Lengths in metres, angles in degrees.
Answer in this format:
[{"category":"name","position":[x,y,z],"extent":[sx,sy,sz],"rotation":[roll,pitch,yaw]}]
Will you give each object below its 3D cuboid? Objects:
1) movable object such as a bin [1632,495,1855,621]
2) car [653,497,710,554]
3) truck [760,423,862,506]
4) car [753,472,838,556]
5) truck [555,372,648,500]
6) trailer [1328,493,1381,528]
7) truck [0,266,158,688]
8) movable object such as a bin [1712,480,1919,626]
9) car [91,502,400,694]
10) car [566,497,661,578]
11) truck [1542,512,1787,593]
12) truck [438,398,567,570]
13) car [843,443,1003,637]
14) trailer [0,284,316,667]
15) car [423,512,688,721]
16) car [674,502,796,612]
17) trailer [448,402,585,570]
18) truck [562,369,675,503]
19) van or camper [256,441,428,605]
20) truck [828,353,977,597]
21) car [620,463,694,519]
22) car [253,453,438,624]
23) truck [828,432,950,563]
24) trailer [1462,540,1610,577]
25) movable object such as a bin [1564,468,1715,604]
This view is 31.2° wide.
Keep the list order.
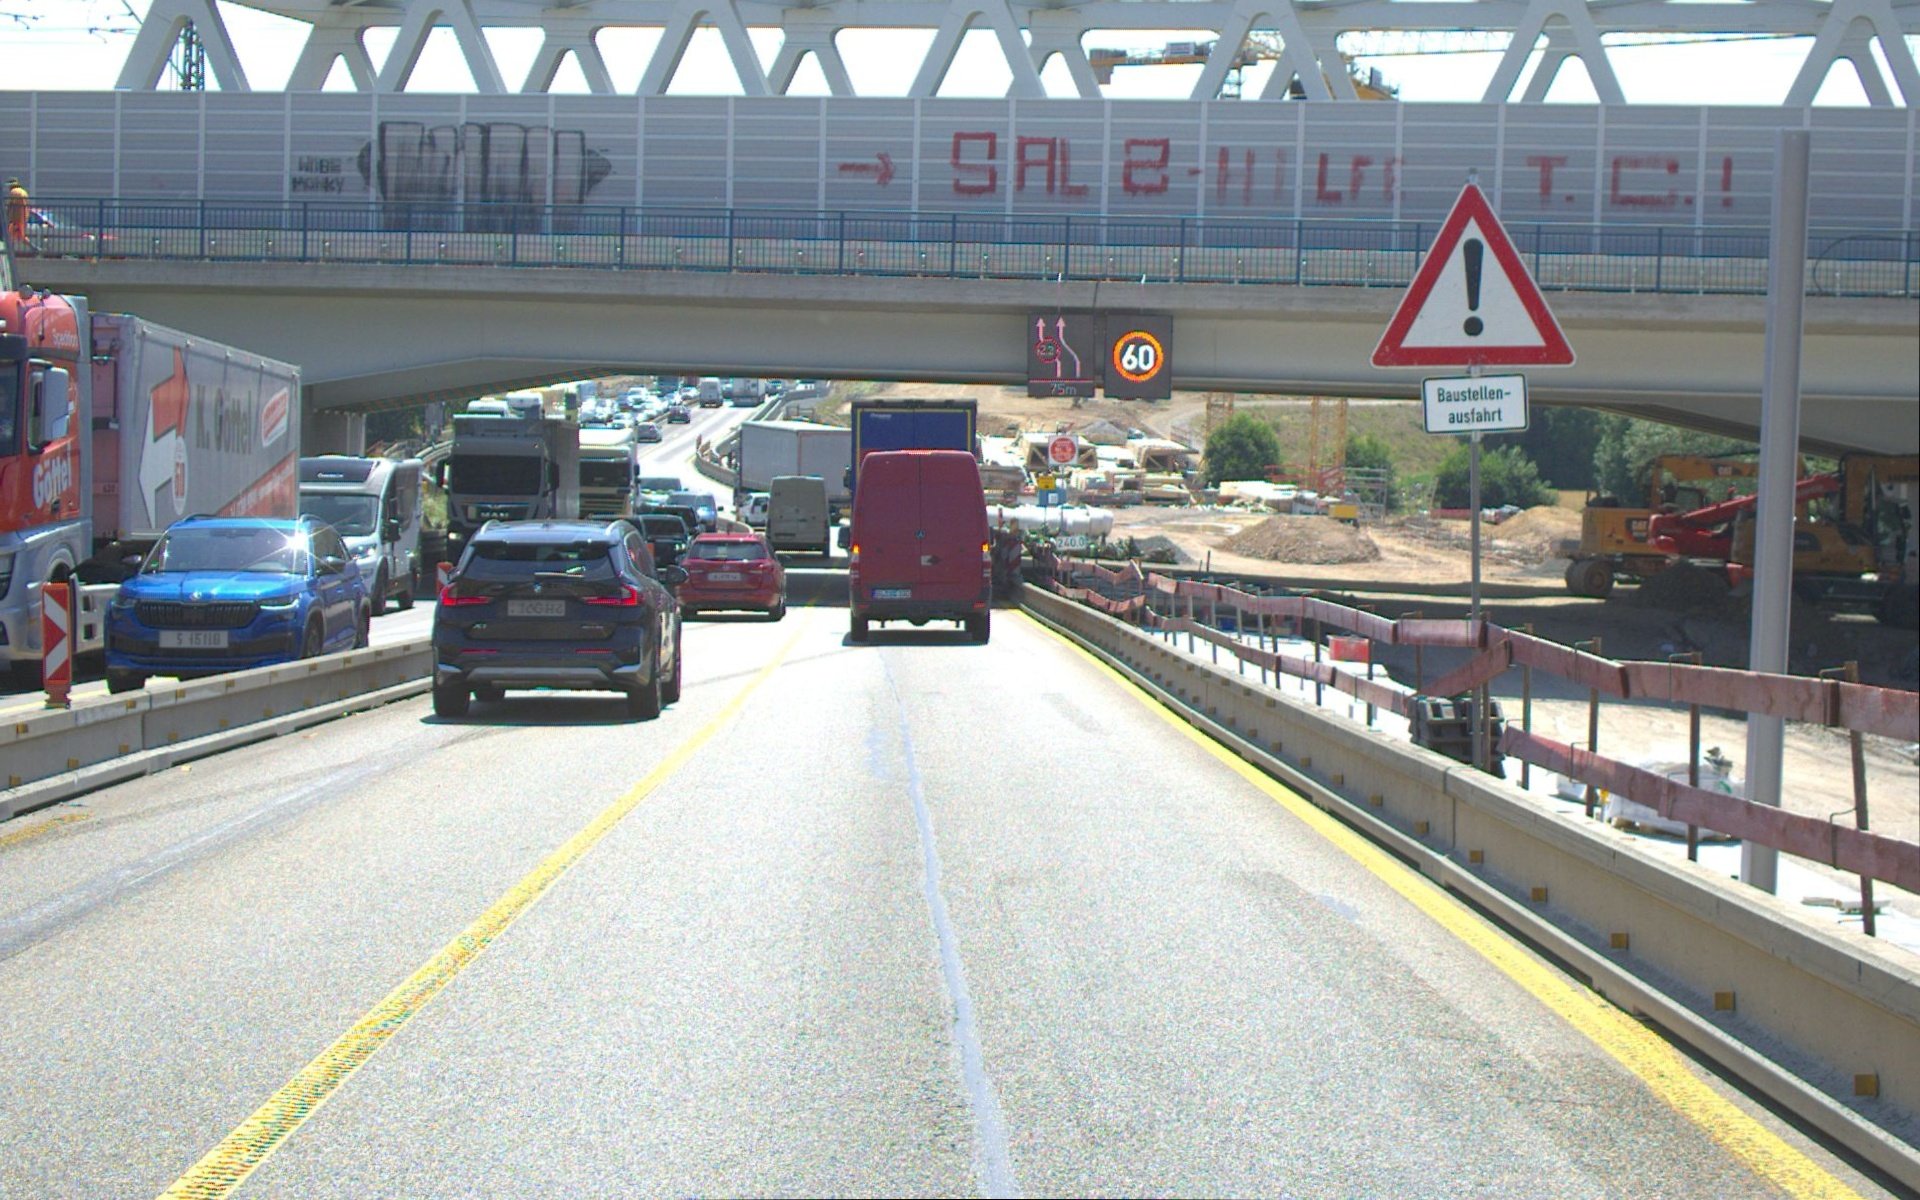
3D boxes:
[{"category":"movable object such as a bin","position":[20.527,-1.110,90.296],"extent":[5.240,3.046,2.496],"rotation":[2,1,3]},{"category":"car","position":[-9.659,-2.599,119.425],"extent":[1.799,1.926,4.969],"rotation":[1,2,-3]},{"category":"truck","position":[-6.560,-5.855,150.018],"extent":[3.218,3.349,8.943],"rotation":[1,1,-10]},{"category":"car","position":[-5.185,-2.734,107.842],"extent":[2.264,2.346,5.162],"rotation":[1,4,-7]},{"category":"truck","position":[-12.258,-5.576,117.816],"extent":[2.659,4.156,5.187],"rotation":[1,0,-1]},{"category":"trailer","position":[17.738,-4.047,154.601],"extent":[1.623,1.481,3.827],"rotation":[1,2,-5]},{"category":"truck","position":[-9.807,-1.158,33.792],"extent":[2.585,3.815,5.381],"rotation":[1,1,-1]},{"category":"movable object such as a bin","position":[20.790,-1.134,83.032],"extent":[4.554,3.275,2.990],"rotation":[2,1,3]},{"category":"car","position":[-6.656,-0.065,32.533],"extent":[1.834,1.658,4.684],"rotation":[1,1,1]},{"category":"car","position":[-8.079,-1.493,80.406],"extent":[1.855,1.750,4.610],"rotation":[1,2,-1]},{"category":"truck","position":[20.352,-1.400,99.608],"extent":[6.521,2.066,2.665],"rotation":[2,2,2]},{"category":"truck","position":[-11.376,-2.845,85.834],"extent":[2.798,4.136,4.074],"rotation":[1,0,-3]},{"category":"car","position":[-0.536,-0.845,49.521],"extent":[2.150,2.602,5.439],"rotation":[1,1,-1]},{"category":"trailer","position":[-9.852,-1.313,40.184],"extent":[2.655,3.803,11.822],"rotation":[1,1,-1]},{"category":"car","position":[-3.374,0.086,29.385],"extent":[1.833,1.630,4.390],"rotation":[1,1,-1]},{"category":"car","position":[-3.794,-0.745,58.514],"extent":[1.833,1.771,4.390],"rotation":[1,1,-1]},{"category":"trailer","position":[-11.554,-2.892,90.163],"extent":[2.812,4.159,8.244],"rotation":[1,1,-2]},{"category":"truck","position":[-12.233,-5.799,124.313],"extent":[2.769,4.298,13.491],"rotation":[1,1,0]},{"category":"van or camper","position":[-10.782,-1.342,60.449],"extent":[2.123,2.695,6.456],"rotation":[1,1,-3]},{"category":"truck","position":[-1.305,-2.776,73.279],"extent":[2.944,4.927,6.743],"rotation":[1,4,-2]},{"category":"car","position":[-13.029,-4.695,147.412],"extent":[1.980,2.322,6.060],"rotation":[0,2,-16]},{"category":"car","position":[-10.717,-1.049,60.422],"extent":[2.275,2.811,6.559],"rotation":[1,1,-2]},{"category":"truck","position":[-2.390,-3.416,112.980],"extent":[3.181,3.975,6.744],"rotation":[1,4,-8]},{"category":"trailer","position":[19.769,-1.421,118.181],"extent":[4.713,1.215,2.056],"rotation":[1,1,-1]},{"category":"movable object such as a bin","position":[18.612,-1.741,94.355],"extent":[3.883,3.530,2.902],"rotation":[2,1,10]}]
